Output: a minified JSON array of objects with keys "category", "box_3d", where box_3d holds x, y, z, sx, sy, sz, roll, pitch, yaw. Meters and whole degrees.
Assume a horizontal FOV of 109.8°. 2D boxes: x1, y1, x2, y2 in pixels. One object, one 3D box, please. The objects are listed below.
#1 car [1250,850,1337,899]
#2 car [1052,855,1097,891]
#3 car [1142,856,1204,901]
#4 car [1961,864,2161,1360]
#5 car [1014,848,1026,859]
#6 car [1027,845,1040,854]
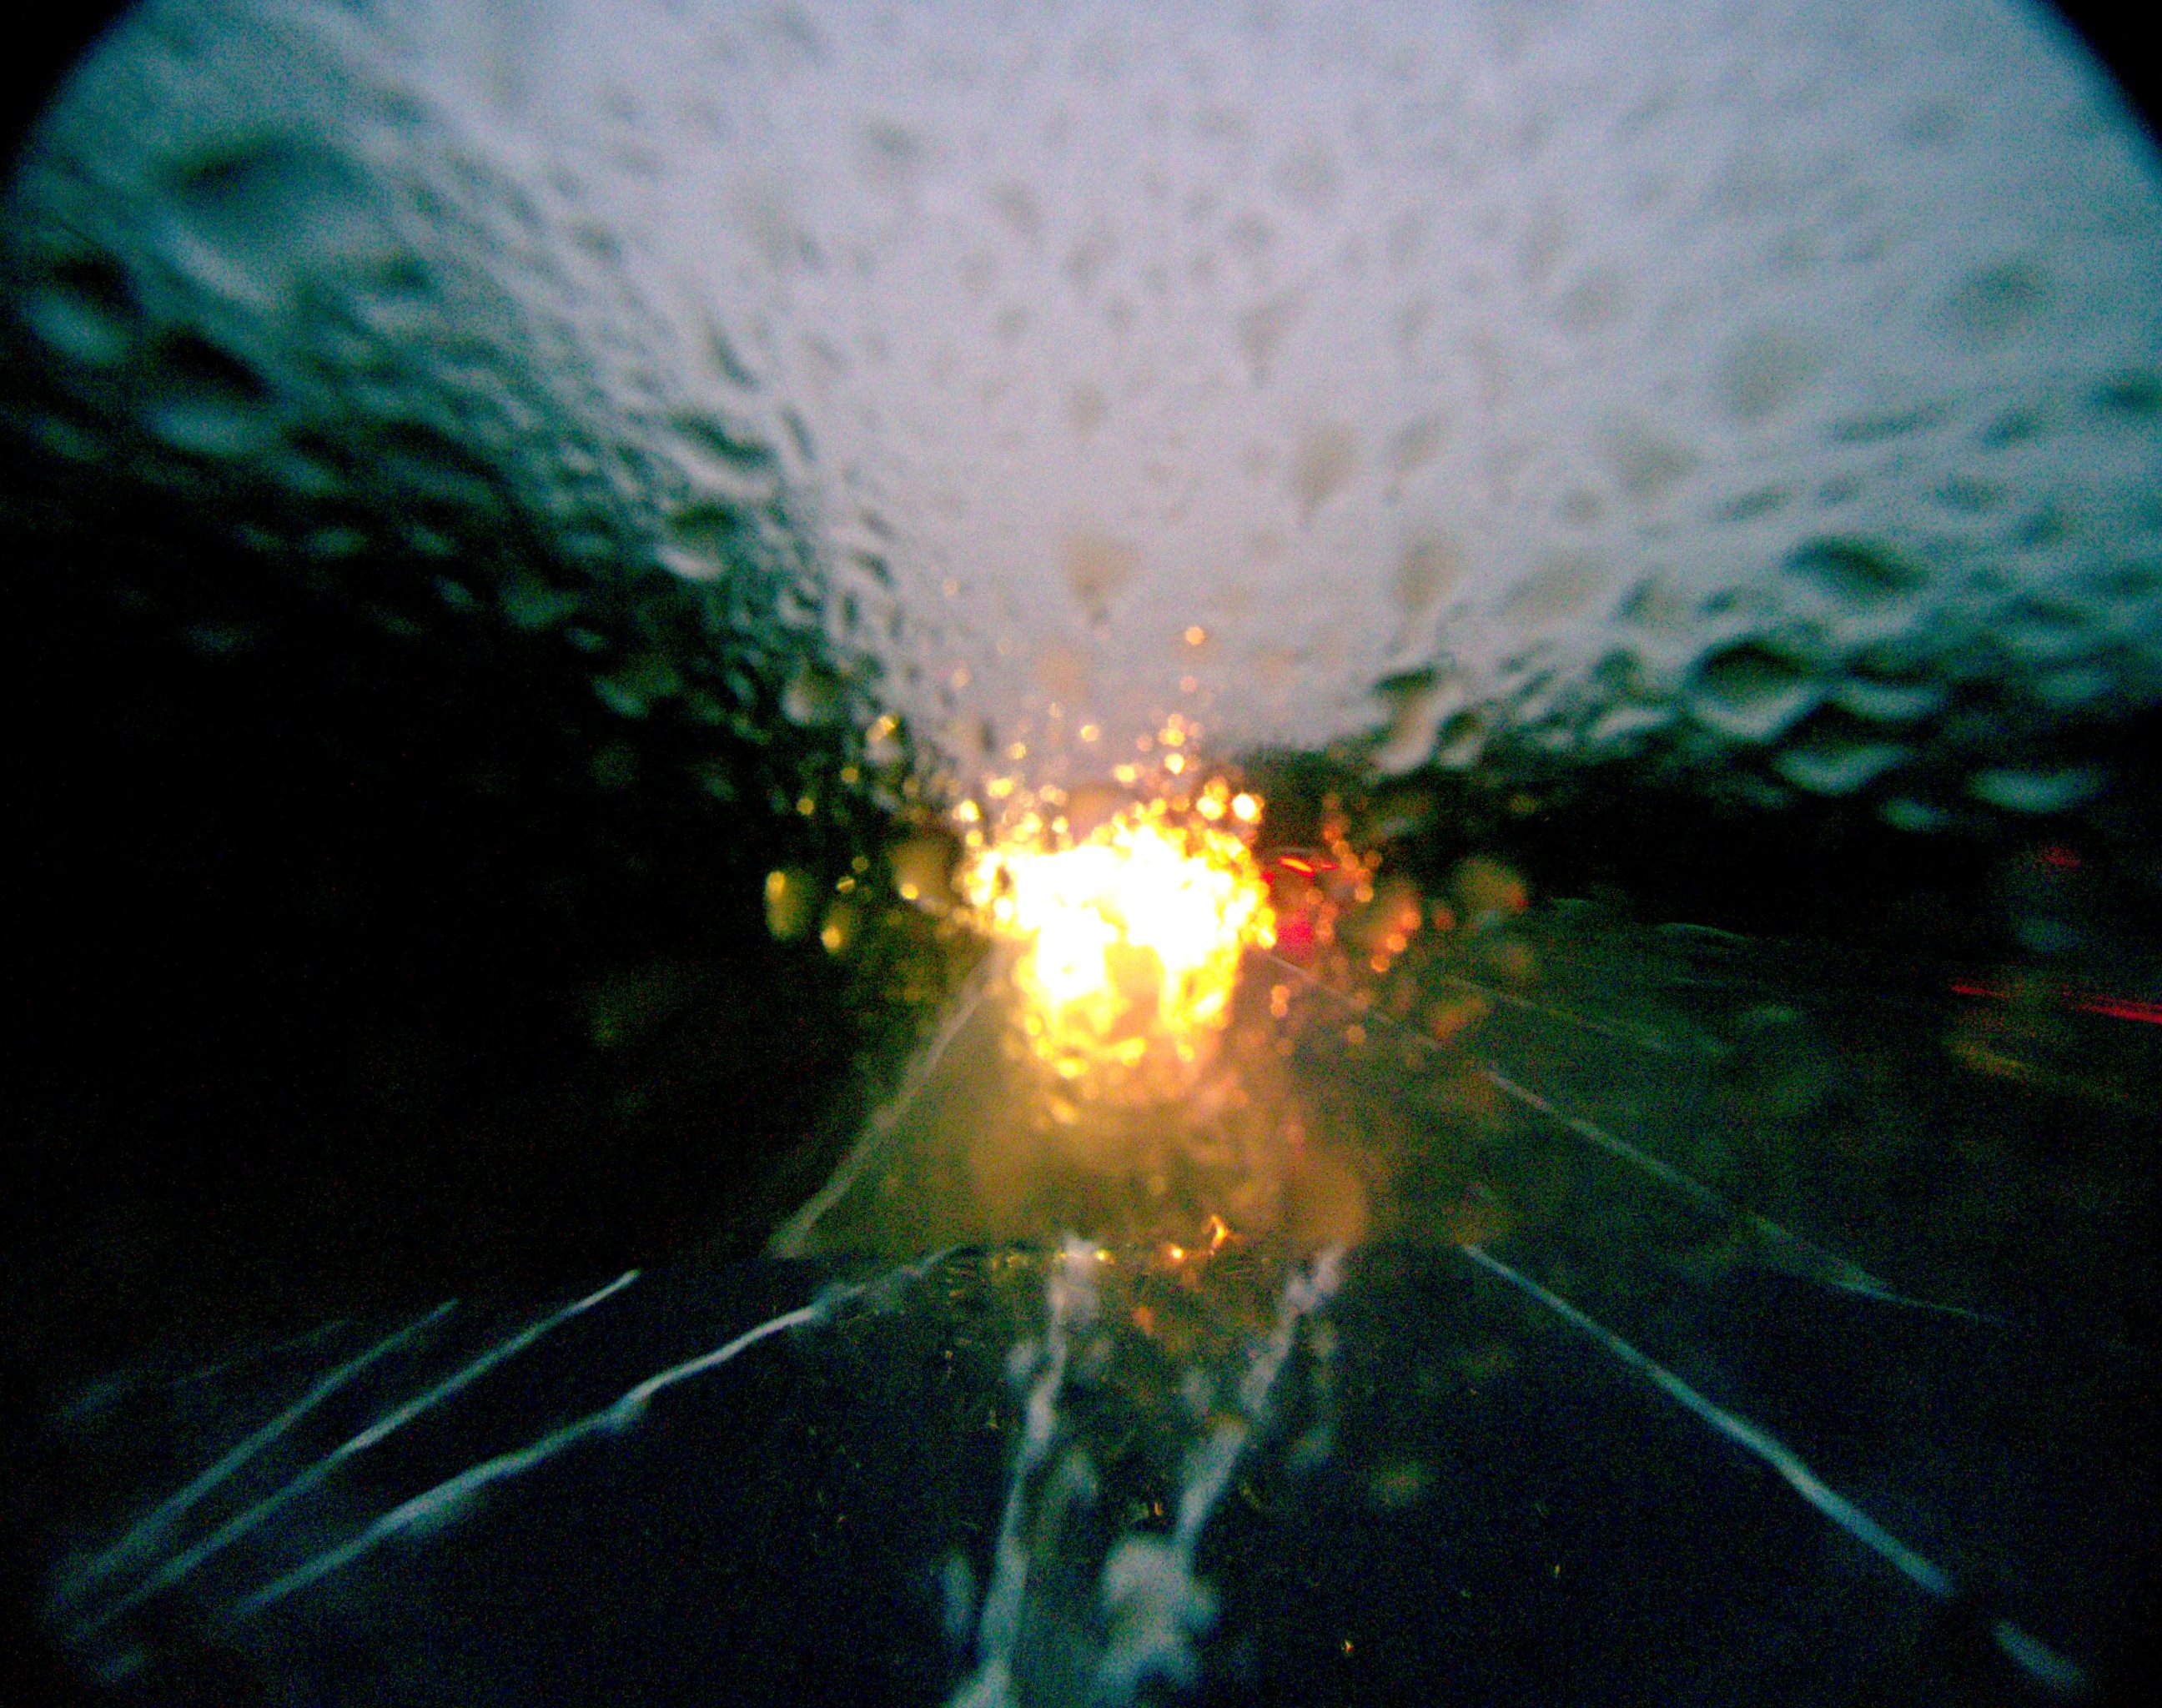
[{"category":"car","box_3d":[7.244,0.633,26.304,1.650,1.547,4.379,-1,0,-2]},{"category":"car","box_3d":[-0.285,0.776,33.347,1.850,1.429,4.244,-1,0,-1]},{"category":"car","box_3d":[3.320,0.845,28.107,1.636,1.413,4.170,-2,1,-2]},{"category":"car","box_3d":[4.401,0.824,0.688,2.010,1.547,4.517,-2,0,1]},{"category":"car","box_3d":[-10.249,-0.074,127.030,1.703,1.721,3.996,-2,1,-9]},{"category":"car","box_3d":[-9.133,-0.787,145.440,2.000,1.639,4.717,-1,1,-10]}]
